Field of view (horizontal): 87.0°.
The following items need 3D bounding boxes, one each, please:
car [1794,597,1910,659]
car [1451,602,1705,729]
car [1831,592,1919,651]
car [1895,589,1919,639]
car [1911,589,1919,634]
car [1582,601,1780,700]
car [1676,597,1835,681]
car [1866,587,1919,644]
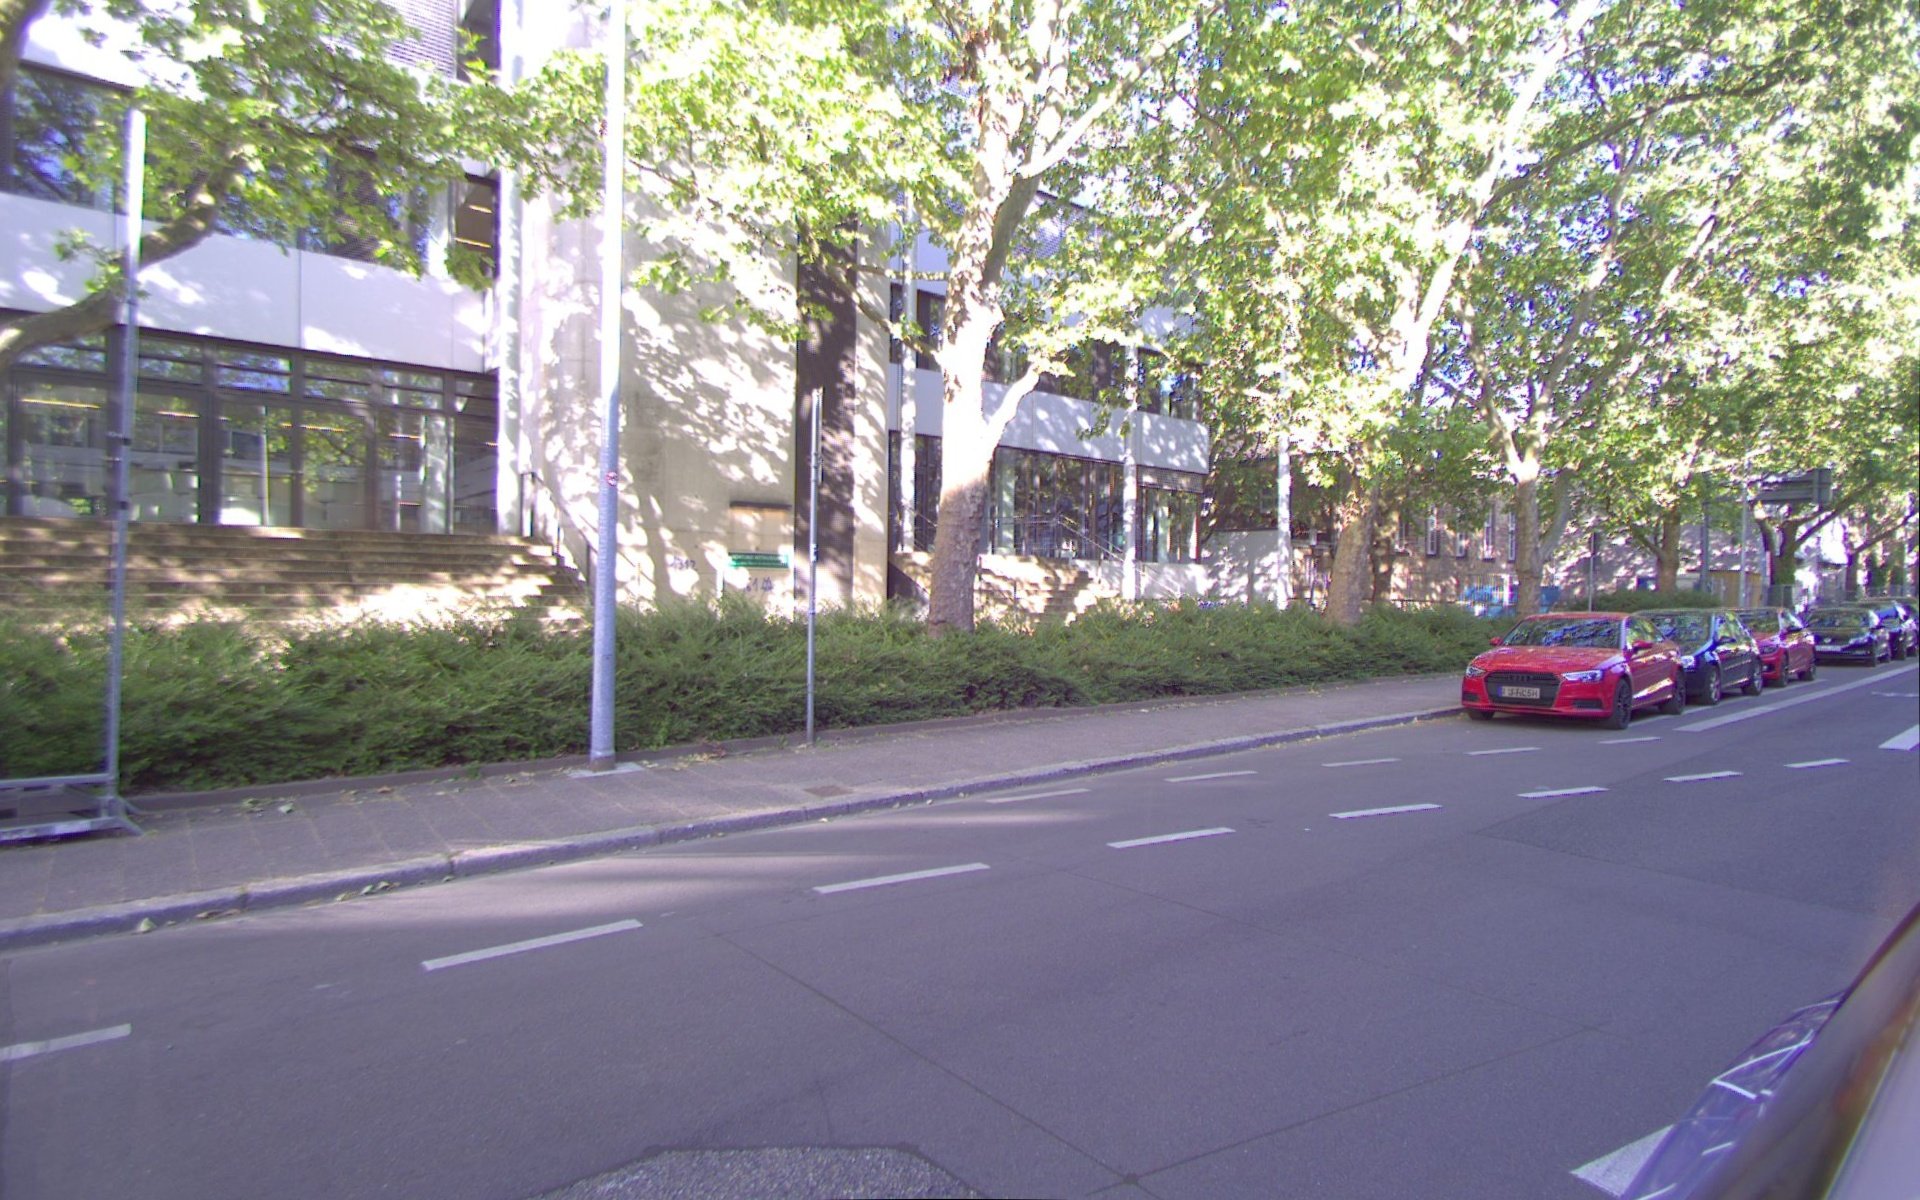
[{"bbox_3d":[23.047,0.676,26.095,4.092,1.478,1.788,0,-1,-42],"label":"car"},{"bbox_3d":[8.356,0.751,13.541,4.092,1.431,1.815,0,-1,-42],"label":"car"},{"bbox_3d":[26.592,0.584,29.127,4.092,1.573,1.788,0,-1,-42],"label":"car"},{"bbox_3d":[35.905,0.478,37.245,4.475,1.777,1.788,0,-1,-42],"label":"car"},{"bbox_3d":[39.623,0.432,40.396,4.475,1.777,2.040,0,-1,-42],"label":"car"},{"bbox_3d":[11.950,0.736,16.681,4.092,1.431,1.815,0,-1,-42],"label":"car"},{"bbox_3d":[15.855,0.698,20.102,4.092,1.502,1.815,0,-1,-42],"label":"car"},{"bbox_3d":[31.053,0.483,33.010,4.271,1.777,1.788,0,-1,-42],"label":"car"}]
